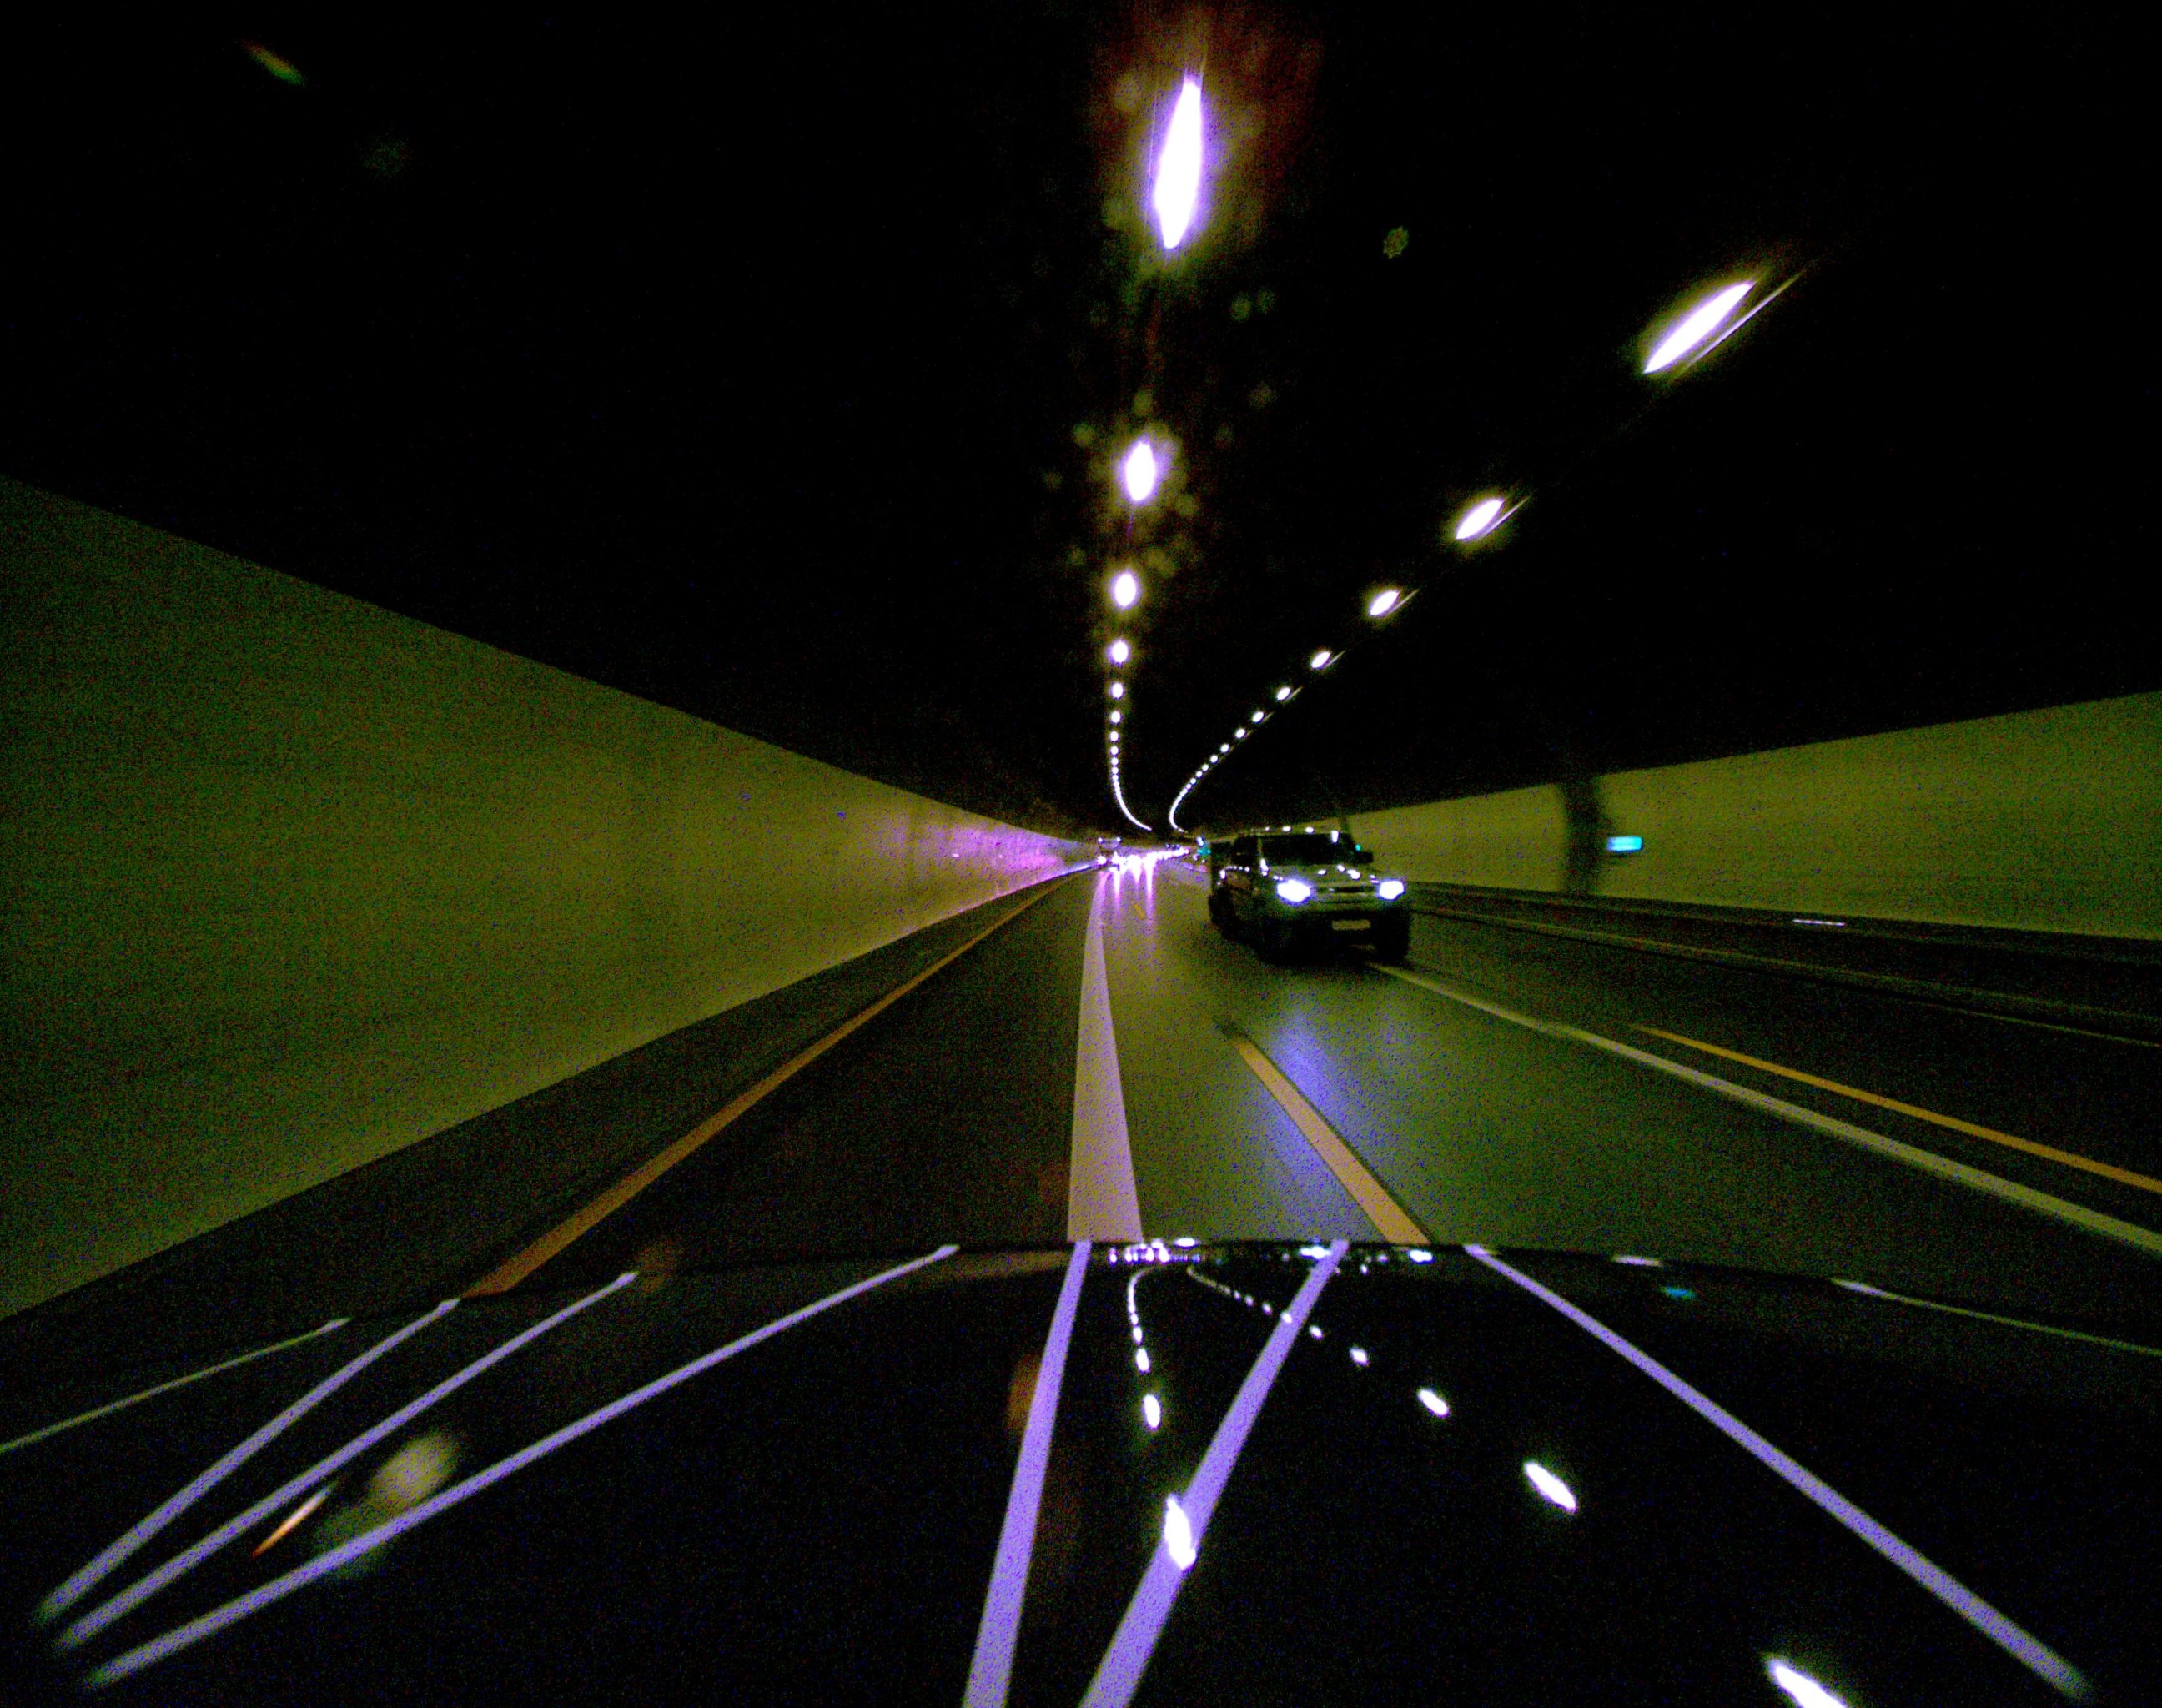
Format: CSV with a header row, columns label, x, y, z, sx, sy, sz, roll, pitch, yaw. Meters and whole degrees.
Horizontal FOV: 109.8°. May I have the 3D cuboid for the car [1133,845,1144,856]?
label,x,y,z,sx,sy,sz,roll,pitch,yaw
car,11.951,-0.719,156.770,1.997,2.002,4.002,-2,1,8

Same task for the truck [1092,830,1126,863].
label,x,y,z,sx,sy,sz,roll,pitch,yaw
truck,3.070,-0.835,80.215,2.988,3.161,10.510,-2,1,5

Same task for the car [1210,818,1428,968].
label,x,y,z,sx,sy,sz,roll,pitch,yaw
car,3.478,0.474,12.368,1.998,1.884,5.453,-1,1,2

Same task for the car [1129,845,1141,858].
label,x,y,z,sx,sy,sz,roll,pitch,yaw
car,9.150,-0.428,129.131,1.998,2.002,4.001,-2,1,4

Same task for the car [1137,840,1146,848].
label,x,y,z,sx,sy,sz,roll,pitch,yaw
car,13.952,-2.331,176.183,1.998,1.917,4.386,-2,1,4

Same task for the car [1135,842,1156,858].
label,x,y,z,sx,sy,sz,roll,pitch,yaw
car,7.431,-0.467,86.877,2.170,1.709,4.483,-2,0,7
